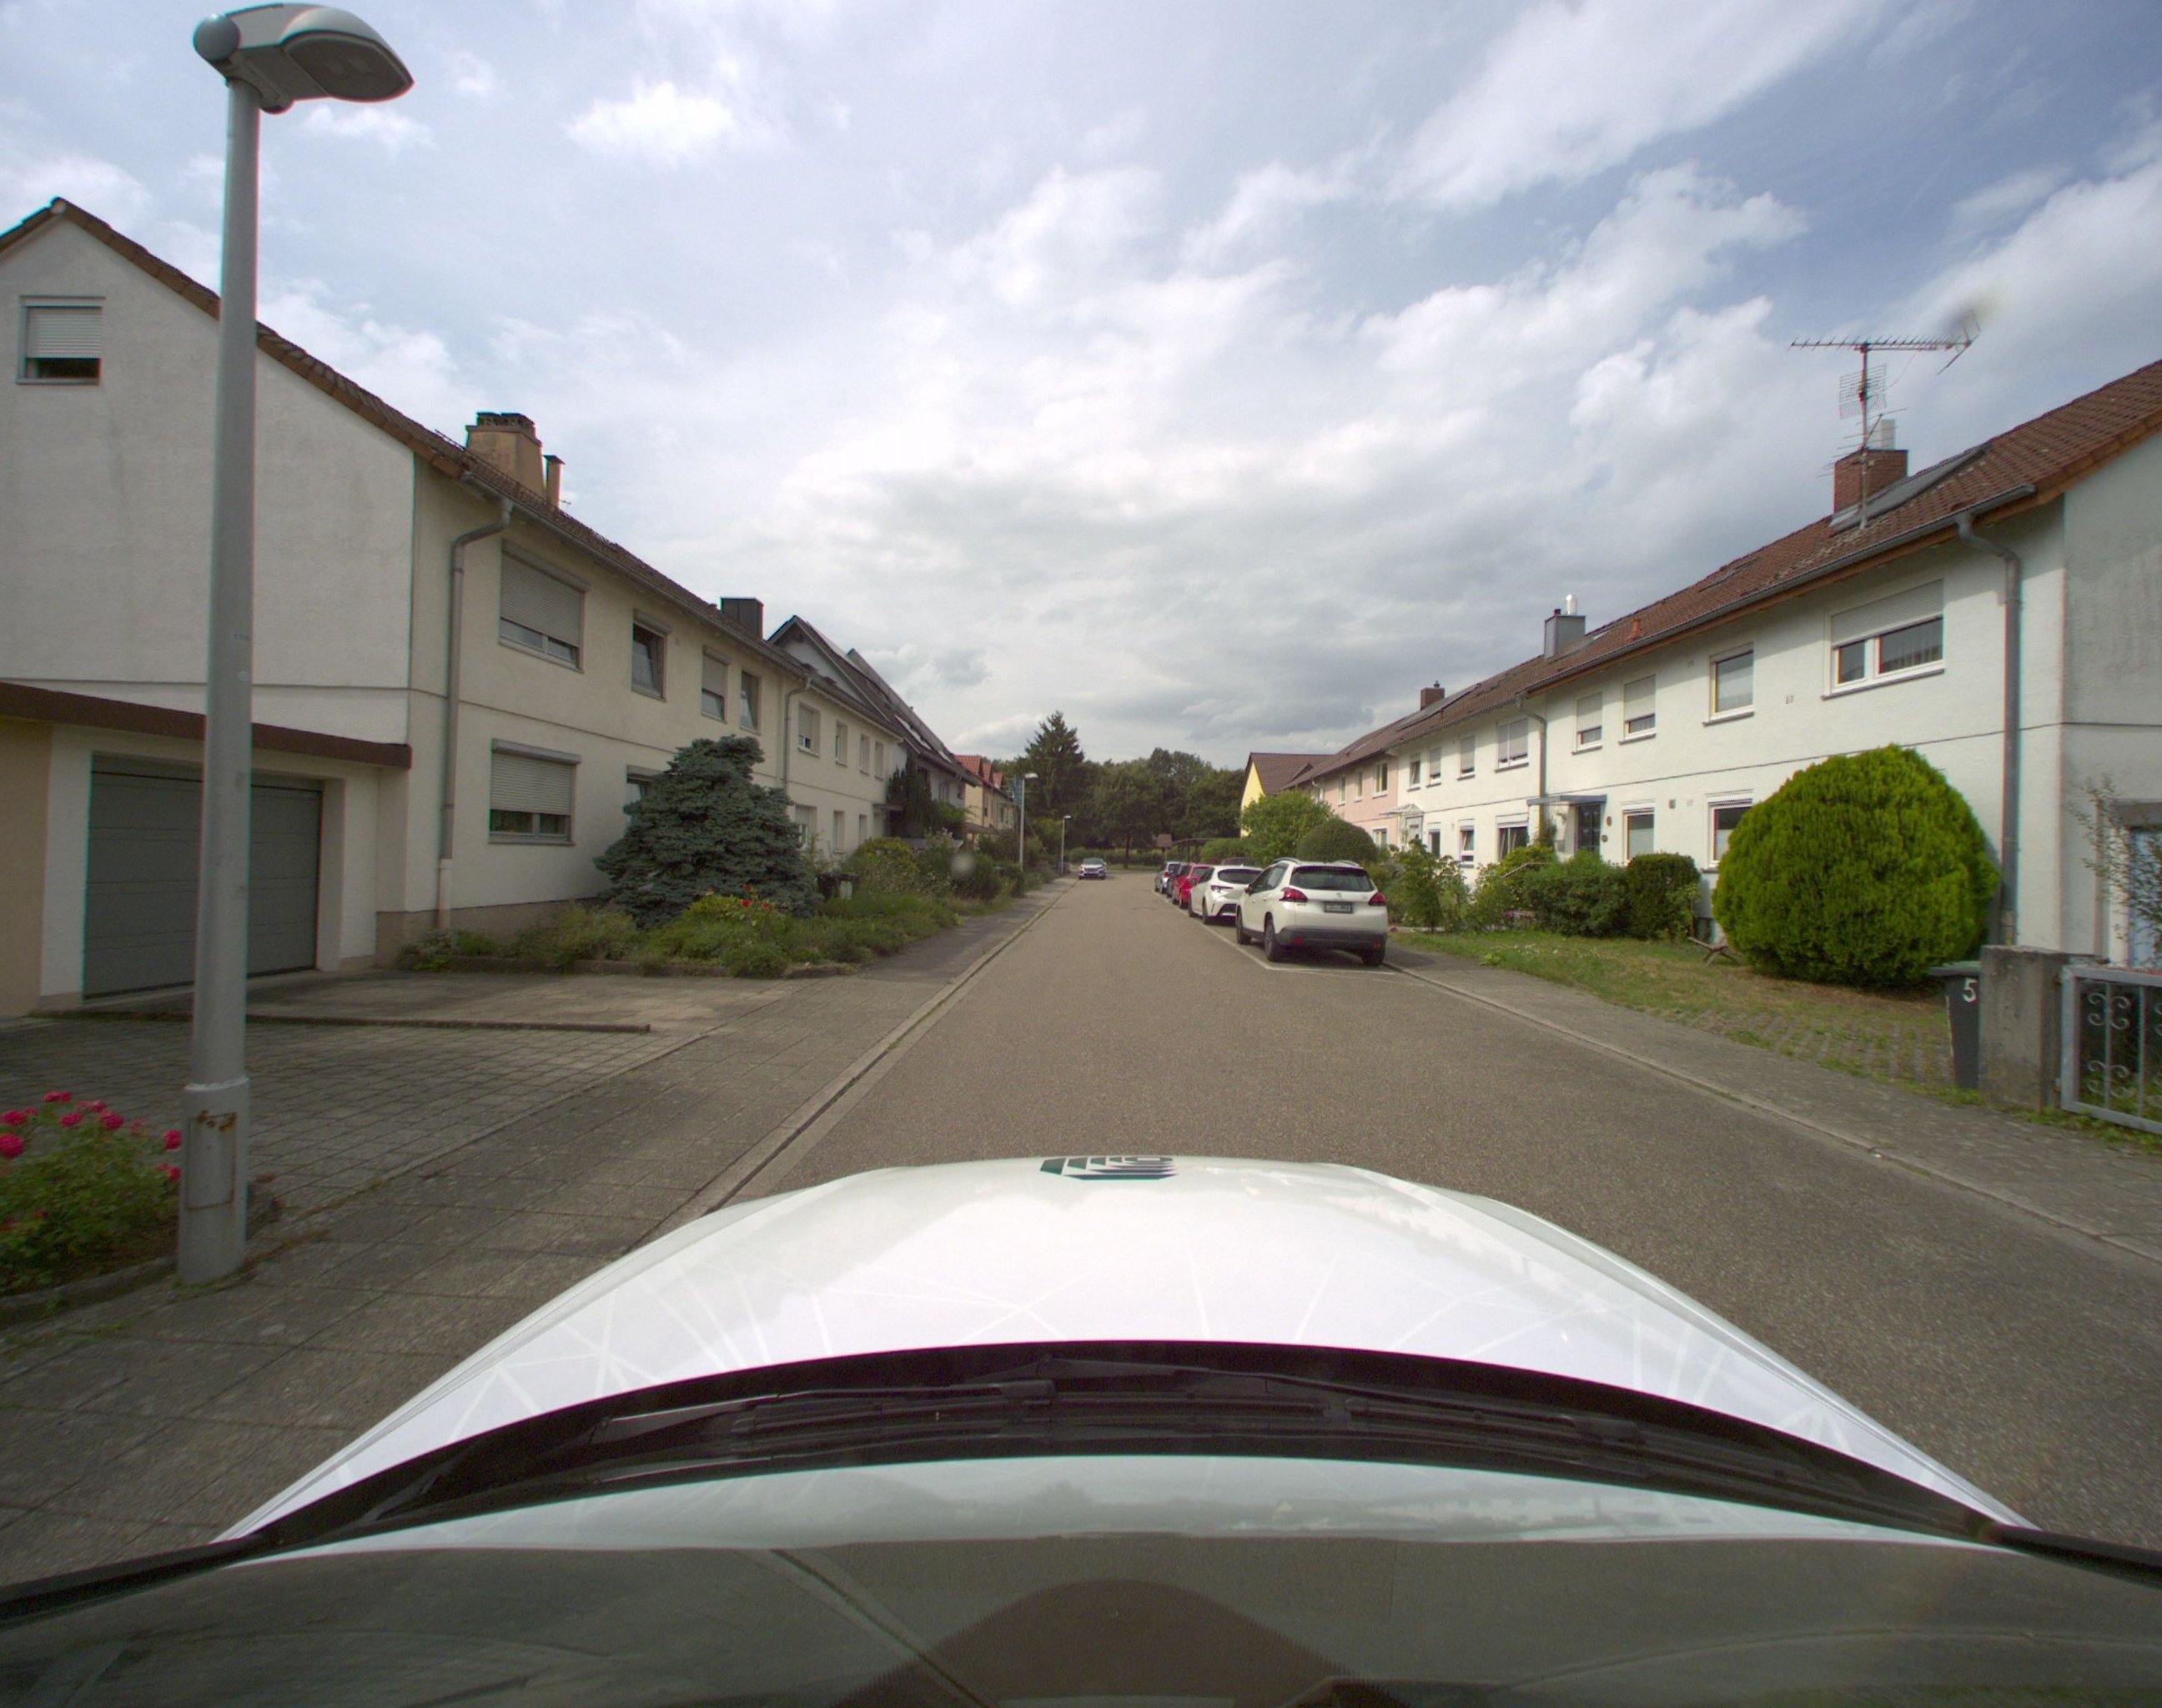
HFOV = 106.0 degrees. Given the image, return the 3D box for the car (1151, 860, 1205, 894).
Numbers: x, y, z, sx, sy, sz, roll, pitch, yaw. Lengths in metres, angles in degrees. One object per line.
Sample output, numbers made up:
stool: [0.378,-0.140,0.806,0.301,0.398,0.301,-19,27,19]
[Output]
car: [4.357,1.003,37.101,1.859,1.417,4.251,2,0,-1]

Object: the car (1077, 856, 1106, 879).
car: [0.764,0.935,58.084,1.926,1.556,4.637,1,0,2]

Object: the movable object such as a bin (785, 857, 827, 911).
movable object such as a bin: [-6.475,0.700,19.179,0.694,1.239,0.734,1,0,1]

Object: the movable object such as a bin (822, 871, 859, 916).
movable object such as a bin: [-5.591,0.919,18.967,0.673,1.007,0.598,0,0,1]

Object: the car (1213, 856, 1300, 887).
car: [9.179,0.913,42.826,4.254,1.560,1.935,0,0,2]

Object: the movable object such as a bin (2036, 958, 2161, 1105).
movable object such as a bin: [7.202,1.231,5.721,0.430,0.921,0.464,2,0,-3]

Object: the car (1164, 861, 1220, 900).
car: [4.237,0.986,31.602,1.766,1.356,4.267,1,0,2]

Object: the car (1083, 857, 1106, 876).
car: [1.185,1.007,68.940,1.785,1.531,4.142,1,0,2]

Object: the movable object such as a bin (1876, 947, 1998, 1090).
movable object such as a bin: [6.038,1.144,5.755,0.406,0.921,0.420,2,0,-4]

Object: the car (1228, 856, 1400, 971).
car: [3.653,0.841,13.498,1.708,1.543,3.974,3,0,1]

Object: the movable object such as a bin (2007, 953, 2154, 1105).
movable object such as a bin: [6.707,1.158,5.480,0.430,0.921,0.464,1,0,-3]

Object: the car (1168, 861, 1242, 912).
car: [3.971,0.996,26.771,1.767,1.436,4.828,3,0,2]

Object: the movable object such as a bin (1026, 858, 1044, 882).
movable object such as a bin: [-2.602,0.891,46.317,0.946,1.312,1.001,0,0,1]

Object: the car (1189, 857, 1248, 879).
car: [10.142,1.004,60.263,4.034,1.522,1.949,1,0,-2]

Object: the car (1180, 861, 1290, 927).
car: [3.772,0.928,20.756,1.832,1.413,4.634,1,0,-1]

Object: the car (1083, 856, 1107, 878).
car: [1.125,0.989,63.479,1.803,1.562,4.849,1,0,1]
